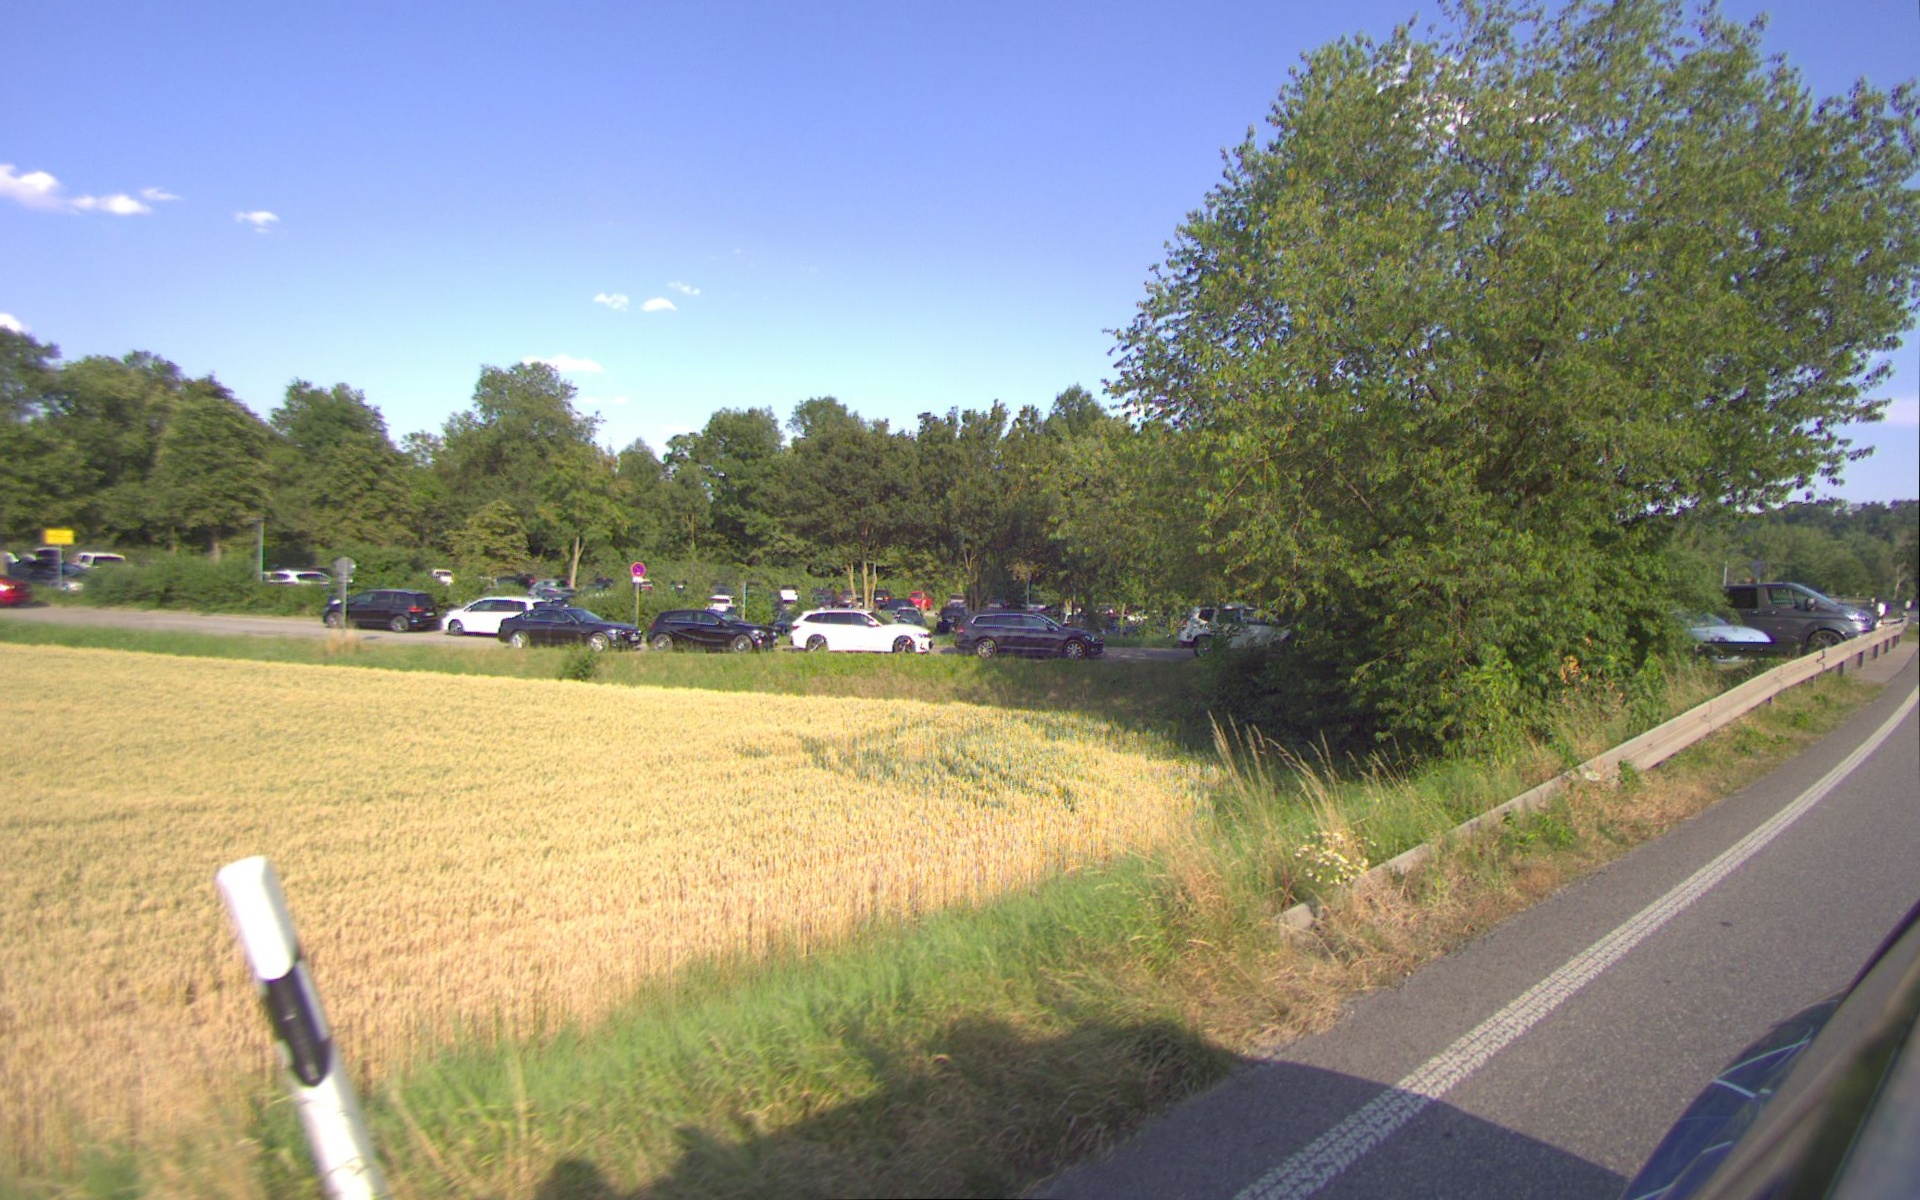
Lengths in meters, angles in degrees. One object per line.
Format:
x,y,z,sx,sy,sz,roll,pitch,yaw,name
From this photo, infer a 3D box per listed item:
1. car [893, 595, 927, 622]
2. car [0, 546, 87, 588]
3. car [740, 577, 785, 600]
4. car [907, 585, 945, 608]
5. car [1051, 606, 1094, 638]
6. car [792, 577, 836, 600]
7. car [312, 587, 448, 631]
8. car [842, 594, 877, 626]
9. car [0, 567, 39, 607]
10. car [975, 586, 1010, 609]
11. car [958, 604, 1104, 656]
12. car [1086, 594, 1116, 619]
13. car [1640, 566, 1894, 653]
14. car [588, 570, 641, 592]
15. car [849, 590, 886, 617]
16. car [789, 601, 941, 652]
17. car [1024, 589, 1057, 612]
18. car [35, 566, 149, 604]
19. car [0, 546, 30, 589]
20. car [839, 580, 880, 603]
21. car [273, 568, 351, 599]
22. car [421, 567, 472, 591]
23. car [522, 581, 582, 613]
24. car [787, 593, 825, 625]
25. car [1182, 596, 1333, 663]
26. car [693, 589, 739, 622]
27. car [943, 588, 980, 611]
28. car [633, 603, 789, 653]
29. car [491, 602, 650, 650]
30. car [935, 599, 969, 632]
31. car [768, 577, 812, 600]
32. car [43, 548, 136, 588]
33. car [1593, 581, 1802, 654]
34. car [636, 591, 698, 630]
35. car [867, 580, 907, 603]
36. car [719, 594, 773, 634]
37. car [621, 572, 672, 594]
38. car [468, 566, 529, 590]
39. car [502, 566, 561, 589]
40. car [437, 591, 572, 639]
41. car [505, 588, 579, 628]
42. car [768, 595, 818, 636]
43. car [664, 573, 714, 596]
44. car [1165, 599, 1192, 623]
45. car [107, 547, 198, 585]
-3.403,0.526,69.020,1.771,1.712,4.592,1,1,4,car
-54.643,-1.983,60.020,5.612,2.270,2.341,2,3,26,car
-15.640,-0.908,80.402,1.777,1.712,4.576,1,1,14,car
-2.679,-0.298,81.190,1.777,1.712,4.576,1,1,14,car
6.699,1.259,60.644,1.768,1.712,4.600,1,1,-3,car
-11.528,-0.914,80.103,1.777,1.712,4.576,1,1,14,car
-23.765,0.338,41.553,4.565,1.526,1.996,3,1,7,car
-5.786,0.546,58.673,1.768,1.712,4.600,1,1,-3,car
-41.155,-0.606,41.341,4.774,1.525,2.005,2,3,-21,car
2.579,-0.218,79.556,1.777,1.712,4.576,1,1,14,car
2.272,0.894,31.747,4.454,1.526,1.995,0,0,9,car
10.857,0.468,77.668,1.777,1.712,4.576,1,1,14,car
21.722,0.315,27.434,5.135,1.969,1.944,-6,-4,43,car
-27.135,-1.504,79.661,1.777,1.712,4.576,1,1,14,car
-6.175,0.204,67.940,1.771,1.712,4.592,1,1,4,car
-3.002,0.816,32.583,4.566,1.526,1.995,0,0,9,car
6.254,0.019,77.876,1.777,1.712,4.576,1,1,14,car
-41.722,-0.732,48.793,1.768,1.712,4.600,1,1,-3,car
-56.398,-1.924,57.656,6.001,2.336,2.487,2,3,20,car
-7.869,-0.706,79.665,1.777,1.712,4.576,1,1,14,car
-37.297,-0.978,58.365,1.768,1.712,4.600,1,1,-3,car
-38.797,-1.595,76.534,1.768,1.712,4.601,1,1,-4,car
-23.136,-0.225,57.557,1.768,1.712,4.600,1,1,-3,car
-8.893,0.487,58.744,1.768,1.712,4.600,1,1,-3,car
8.852,0.833,30.297,4.161,1.769,1.801,2,1,17,car
-13.990,0.277,58.355,1.768,1.712,4.600,1,1,-3,car
0.161,-0.059,79.502,1.777,1.712,4.576,1,1,14,car
-8.104,0.878,33.107,4.566,1.526,1.995,0,0,9,car
-12.905,0.832,33.668,4.566,1.526,1.995,0,0,9,car
-0.503,0.848,58.597,1.768,1.712,4.600,1,1,-3,car
-13.455,-0.915,80.504,1.777,1.712,4.576,1,1,14,car
-53.543,-2.020,62.252,5.612,2.270,2.313,2,3,26,car
18.080,0.508,25.067,1.644,1.575,4.015,-2,-3,-11,car
-13.742,0.449,47.704,1.768,1.712,4.600,1,1,-3,car
-5.741,-0.694,79.629,1.777,1.712,4.576,1,1,14,car
-9.984,0.620,47.486,1.768,1.712,4.600,1,1,-3,car
-24.686,-1.341,79.845,1.777,1.712,4.576,1,1,14,car
-35.611,-1.687,78.201,1.777,1.712,4.576,1,1,14,car
-33.316,-1.737,78.813,1.777,1.712,4.576,1,1,14,car
-18.405,0.580,41.004,4.565,1.637,1.996,3,1,7,car
-19.413,0.344,47.159,1.768,1.712,4.600,1,1,-3,car
-7.723,0.671,47.183,1.768,1.712,4.600,1,1,-3,car
-21.501,-1.229,80.497,1.777,1.712,4.576,1,1,14,car
16.604,0.811,76.705,1.777,1.712,4.576,1,1,14,car
-51.197,-2.188,64.143,5.612,2.270,2.341,2,3,26,car
